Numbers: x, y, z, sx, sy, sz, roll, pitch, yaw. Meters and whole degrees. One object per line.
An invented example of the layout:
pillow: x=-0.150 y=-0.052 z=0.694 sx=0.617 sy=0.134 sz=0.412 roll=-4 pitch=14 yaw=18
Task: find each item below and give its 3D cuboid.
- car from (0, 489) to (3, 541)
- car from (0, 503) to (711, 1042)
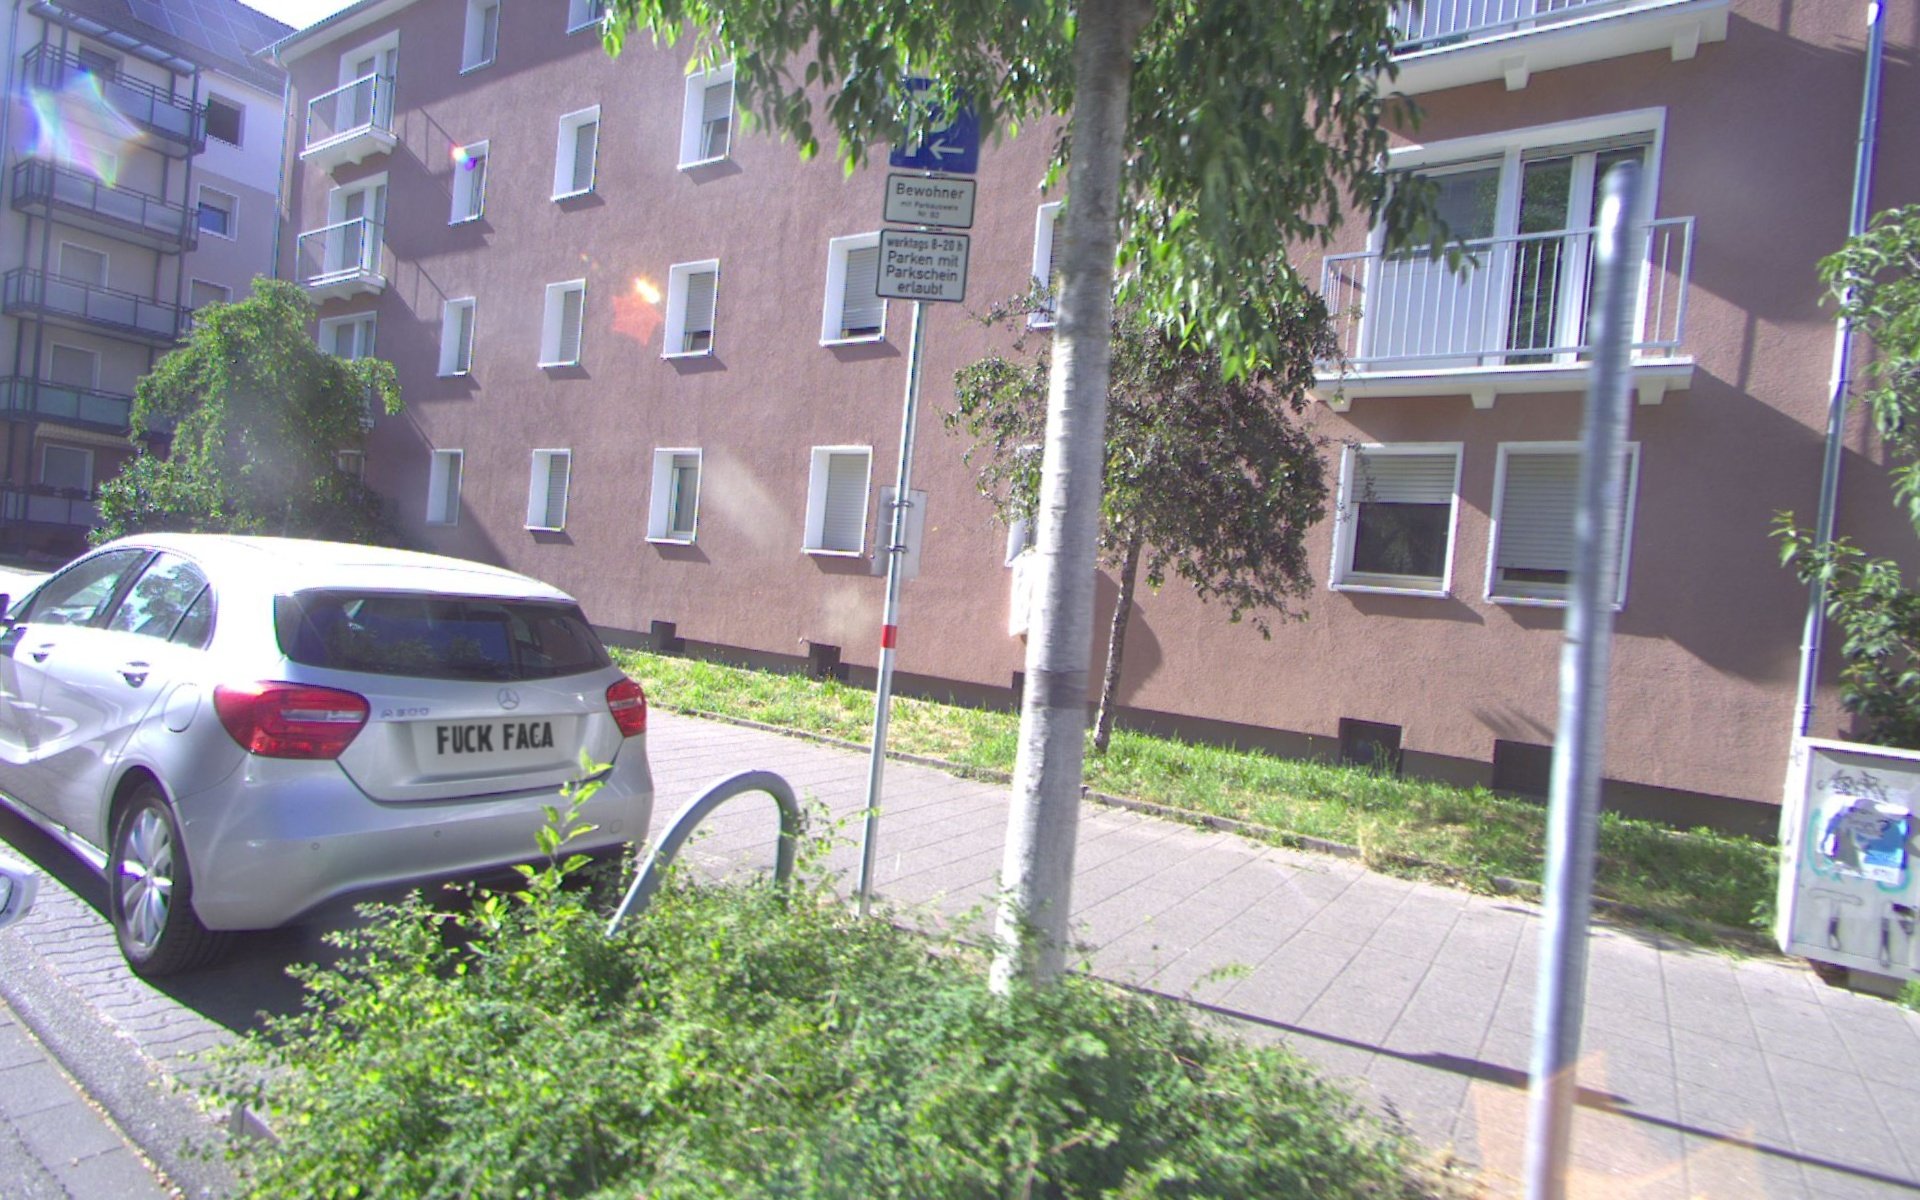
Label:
car: x=-11.762 y=-0.537 z=10.463 sx=4.241 sy=1.539 sz=1.782 roll=5 pitch=1 yaw=35
car: x=-3.281 y=0.409 z=4.703 sx=4.089 sy=1.472 sz=1.740 roll=5 pitch=0 yaw=34
